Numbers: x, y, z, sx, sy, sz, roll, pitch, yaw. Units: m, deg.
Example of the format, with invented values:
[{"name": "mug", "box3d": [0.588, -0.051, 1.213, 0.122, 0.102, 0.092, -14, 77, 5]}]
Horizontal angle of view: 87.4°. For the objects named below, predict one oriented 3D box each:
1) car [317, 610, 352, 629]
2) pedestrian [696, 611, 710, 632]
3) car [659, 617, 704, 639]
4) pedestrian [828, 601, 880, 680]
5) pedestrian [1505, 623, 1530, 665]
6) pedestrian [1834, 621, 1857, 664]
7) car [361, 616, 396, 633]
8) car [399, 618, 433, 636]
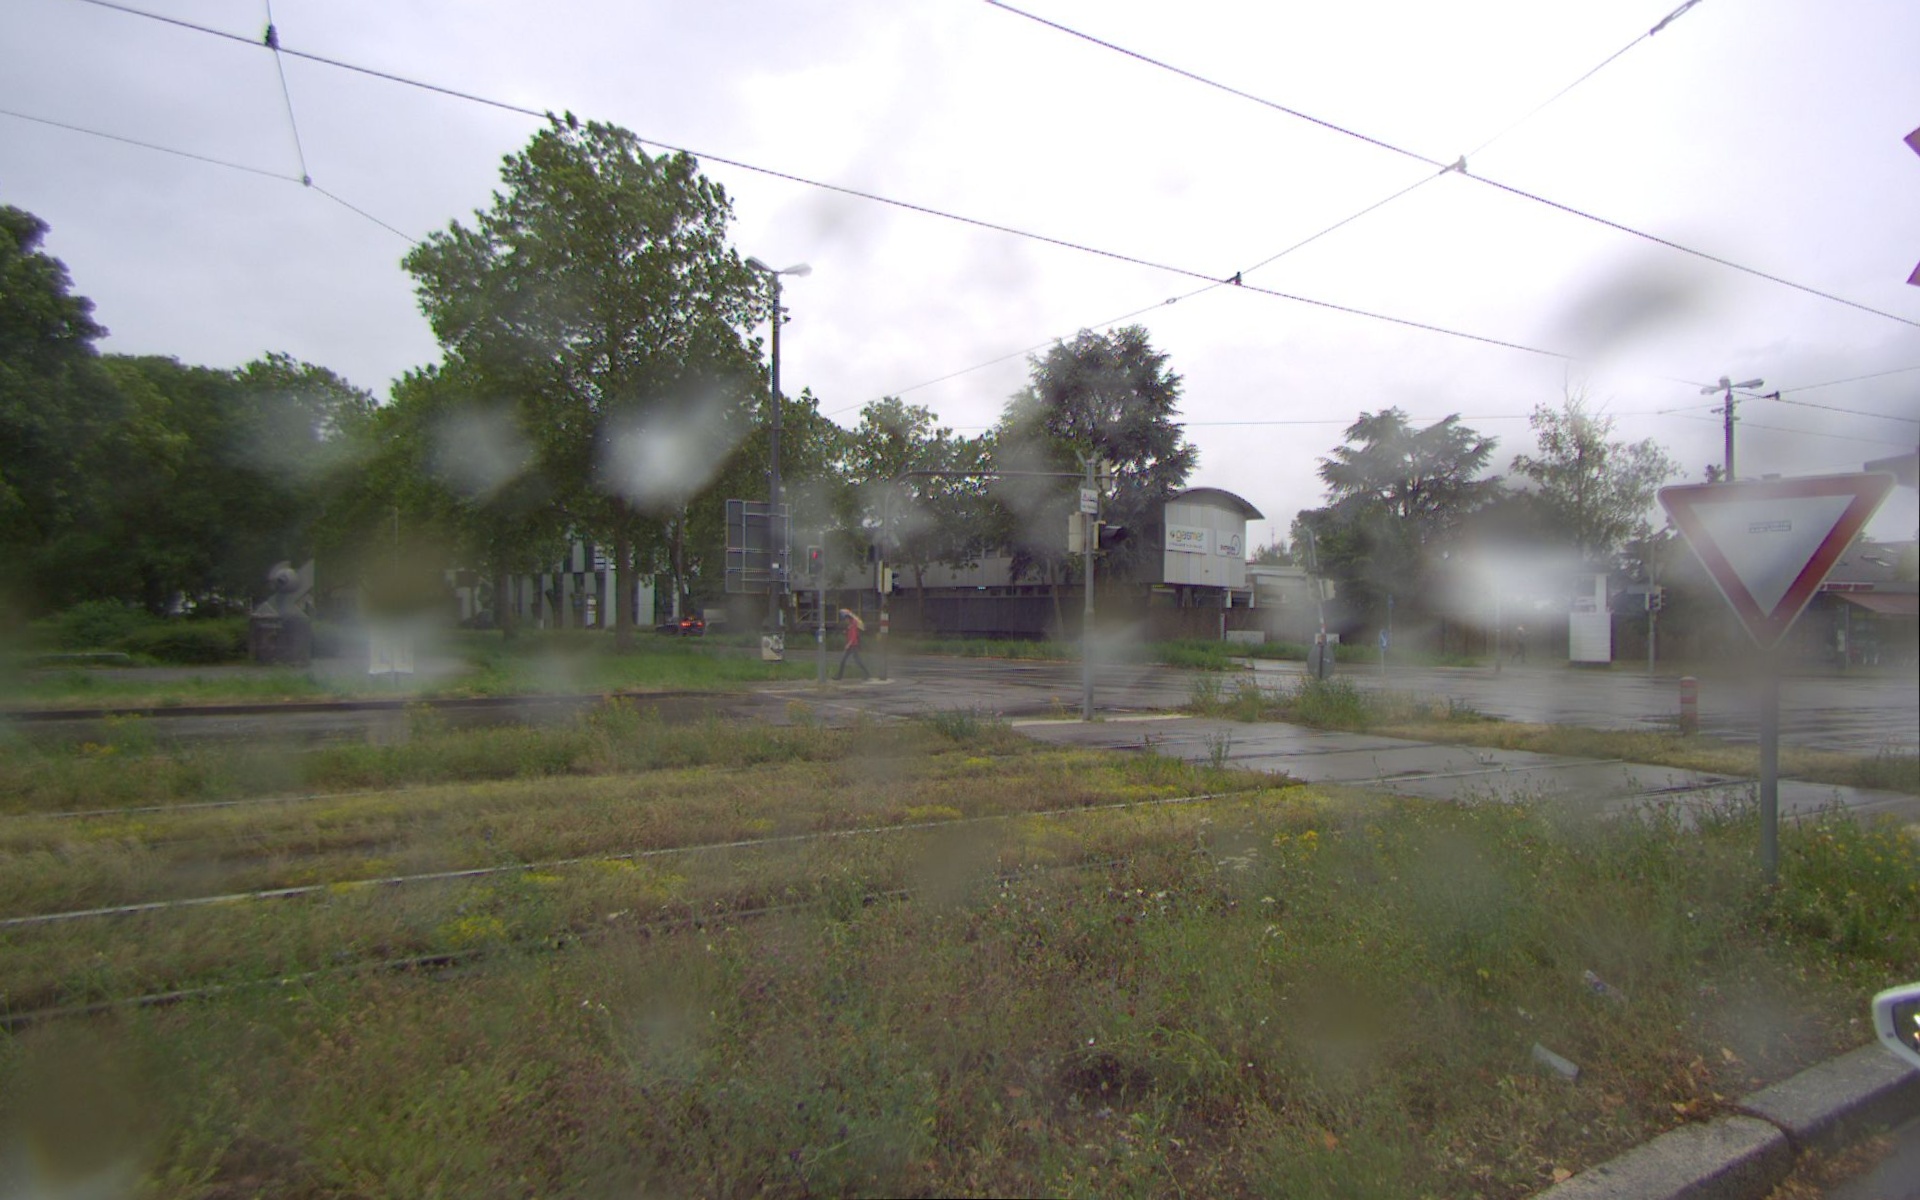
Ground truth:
[{"name": "car", "box3d": [-75.250, 2.380, 120.846, 3.932, 2.116, 2.123, 2, 0, 33]}, {"name": "pedestrian", "box3d": [-21.796, 1.831, 85.212, 0.810, 1.690, 0.672, 2, 0, 27]}, {"name": "car", "box3d": [-20.119, 2.016, 72.495, 1.679, 1.417, 4.087, 2, 0, -39]}, {"name": "pedestrian", "box3d": [-2.793, 1.046, 26.516, 0.998, 2.017, 0.945, 2, 0, -34]}, {"name": "pedestrian", "box3d": [24.959, 1.963, 45.000, 0.870, 1.821, 0.726, 2, 1, 26]}, {"name": "pedestrian", "box3d": [43.129, 2.067, 48.922, 0.714, 2.040, 0.791, 2, 0, 38]}, {"name": "car", "box3d": [-65.890, 2.774, 113.866, 3.934, 1.806, 1.993, 2, 0, 36]}, {"name": "car", "box3d": [-59.770, 3.002, 110.243, 3.940, 1.806, 1.990, 2, 0, 41]}]
